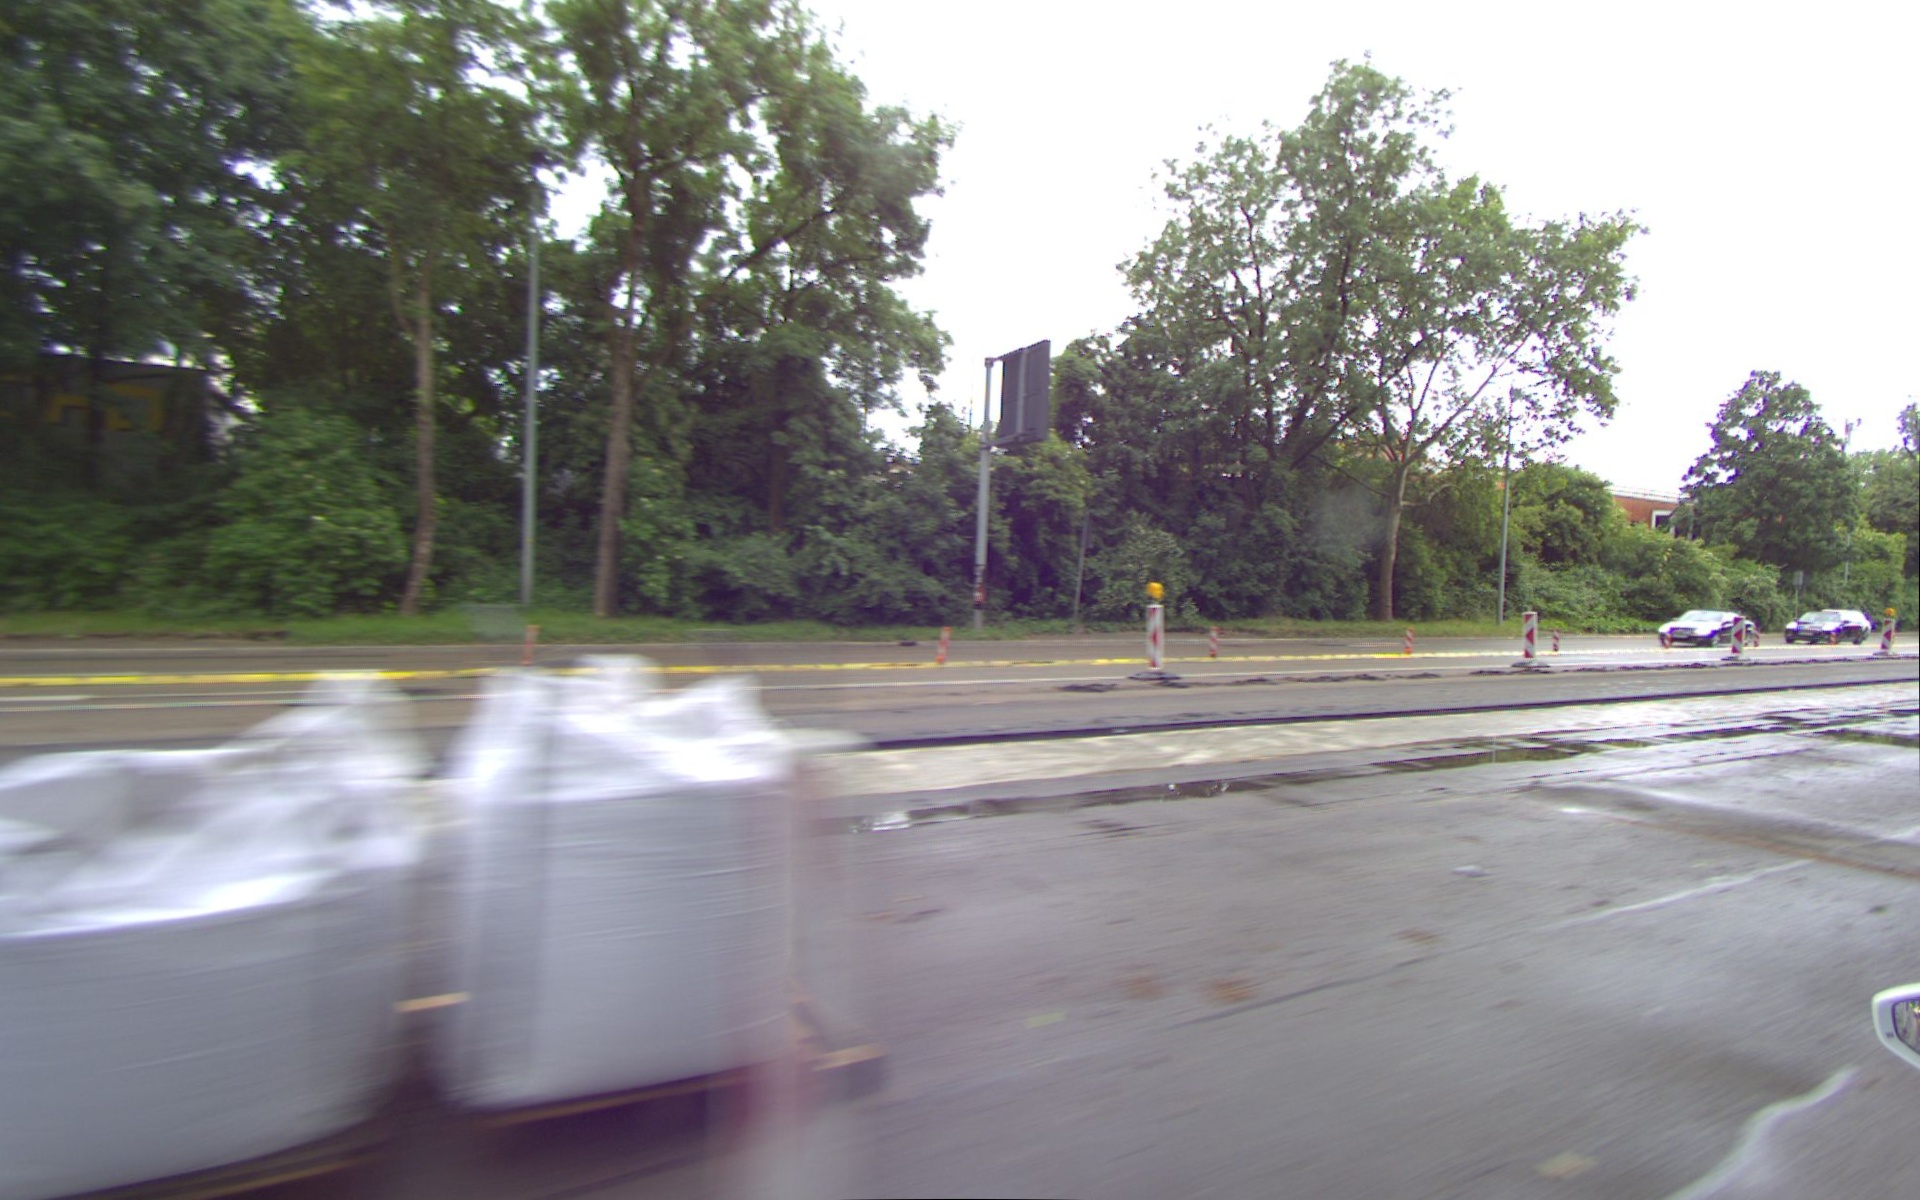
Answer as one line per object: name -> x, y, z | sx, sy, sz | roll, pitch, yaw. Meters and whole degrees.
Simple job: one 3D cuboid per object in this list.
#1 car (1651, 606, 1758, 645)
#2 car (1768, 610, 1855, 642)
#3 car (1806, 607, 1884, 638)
car -> 28.195, 0.958, 38.018 | 4.341, 1.373, 1.808 | 1, 0, -32
car -> 37.852, 1.147, 44.636 | 4.158, 1.373, 1.808 | 1, 0, -32
car -> 46.386, 1.172, 52.621 | 4.551, 1.439, 1.808 | 1, 2, -32
